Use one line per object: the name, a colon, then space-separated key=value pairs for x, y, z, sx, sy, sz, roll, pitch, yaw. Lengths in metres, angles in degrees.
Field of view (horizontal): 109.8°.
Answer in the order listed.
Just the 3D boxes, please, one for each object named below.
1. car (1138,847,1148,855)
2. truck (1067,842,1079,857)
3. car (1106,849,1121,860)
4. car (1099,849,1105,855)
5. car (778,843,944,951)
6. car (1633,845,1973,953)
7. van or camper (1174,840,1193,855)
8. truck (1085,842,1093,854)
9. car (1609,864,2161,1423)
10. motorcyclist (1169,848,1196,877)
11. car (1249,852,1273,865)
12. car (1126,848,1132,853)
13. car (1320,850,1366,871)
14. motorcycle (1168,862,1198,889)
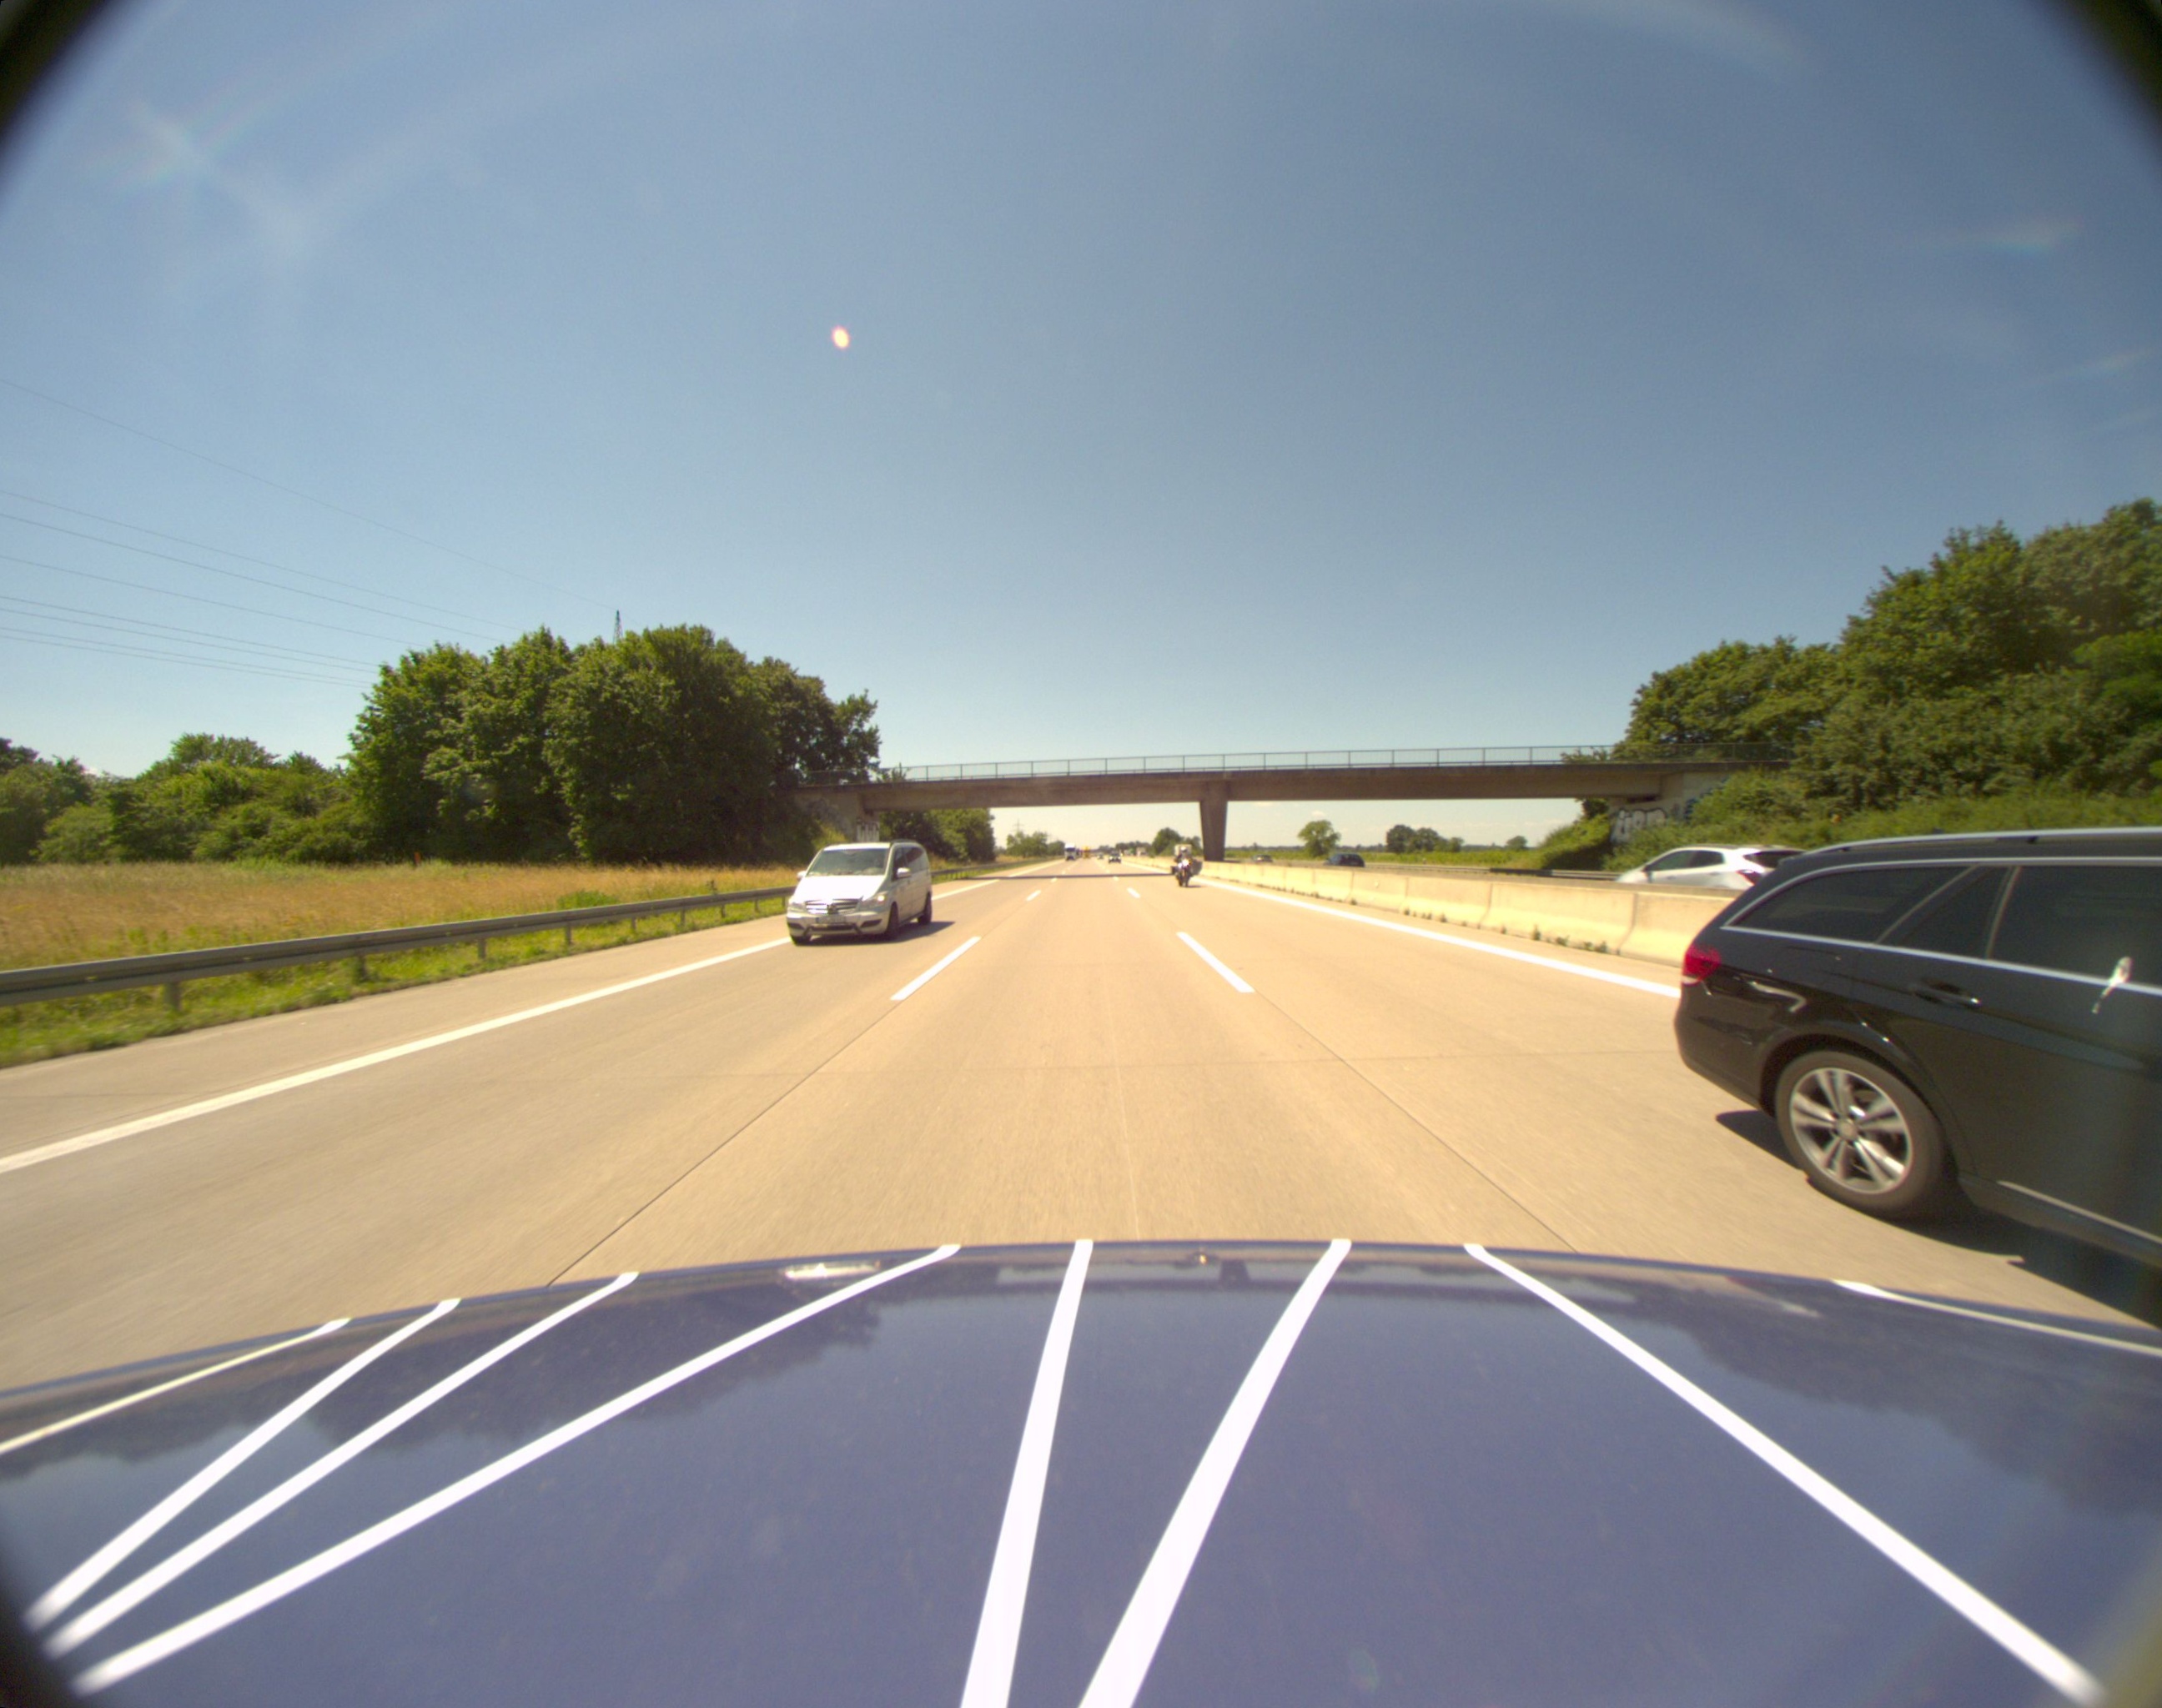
car: x=15.003 y=-0.714 z=183.857 sx=1.831 sy=1.708 sz=5.792 roll=-1 pitch=0 yaw=0
truck: x=-1.962 y=-1.078 z=187.326 sx=2.570 sy=3.514 sz=10.099 roll=-1 pitch=0 yaw=1
car: x=4.846 y=0.025 z=113.473 sx=1.998 sy=1.518 sz=4.000 roll=-1 pitch=1 yaw=1
car: x=5.559 y=-0.494 z=204.025 sx=1.586 sy=1.527 sz=3.611 roll=-1 pitch=1 yaw=1
car: x=-4.375 y=0.762 z=16.107 sx=1.884 sy=1.878 sz=5.279 roll=-1 pitch=0 yaw=1
car: x=13.020 y=0.687 z=14.280 sx=1.713 sy=1.668 sz=4.928 roll=0 pitch=0 yaw=0
van or camper: x=17.900 y=-1.167 z=132.811 sx=2.254 sy=2.429 sz=7.801 roll=-2 pitch=0 yaw=0
truck: x=2.788 y=-1.979 z=257.624 sx=2.570 sy=3.710 sz=10.099 roll=-1 pitch=0 yaw=1
car: x=3.879 y=0.807 z=1.452 sx=1.895 sy=1.465 sz=5.603 roll=-1 pitch=0 yaw=1
motorcyclist: x=4.282 y=0.338 z=32.083 sx=1.027 sy=1.202 sz=0.911 roll=-1 pitch=1 yaw=2
car: x=17.810 y=0.425 z=75.401 sx=1.569 sy=1.311 sz=3.632 roll=-1 pitch=0 yaw=0
car: x=15.342 y=-1.027 z=243.434 sx=1.761 sy=1.488 sz=4.080 roll=0 pitch=0 yaw=0
car: x=17.574 y=0.422 z=51.136 sx=1.569 sy=1.311 sz=4.372 roll=-1 pitch=0 yaw=0
motorcycle: x=4.284 y=0.892 z=32.189 sx=1.023 sy=1.042 sz=2.413 roll=0 pitch=0 yaw=2
